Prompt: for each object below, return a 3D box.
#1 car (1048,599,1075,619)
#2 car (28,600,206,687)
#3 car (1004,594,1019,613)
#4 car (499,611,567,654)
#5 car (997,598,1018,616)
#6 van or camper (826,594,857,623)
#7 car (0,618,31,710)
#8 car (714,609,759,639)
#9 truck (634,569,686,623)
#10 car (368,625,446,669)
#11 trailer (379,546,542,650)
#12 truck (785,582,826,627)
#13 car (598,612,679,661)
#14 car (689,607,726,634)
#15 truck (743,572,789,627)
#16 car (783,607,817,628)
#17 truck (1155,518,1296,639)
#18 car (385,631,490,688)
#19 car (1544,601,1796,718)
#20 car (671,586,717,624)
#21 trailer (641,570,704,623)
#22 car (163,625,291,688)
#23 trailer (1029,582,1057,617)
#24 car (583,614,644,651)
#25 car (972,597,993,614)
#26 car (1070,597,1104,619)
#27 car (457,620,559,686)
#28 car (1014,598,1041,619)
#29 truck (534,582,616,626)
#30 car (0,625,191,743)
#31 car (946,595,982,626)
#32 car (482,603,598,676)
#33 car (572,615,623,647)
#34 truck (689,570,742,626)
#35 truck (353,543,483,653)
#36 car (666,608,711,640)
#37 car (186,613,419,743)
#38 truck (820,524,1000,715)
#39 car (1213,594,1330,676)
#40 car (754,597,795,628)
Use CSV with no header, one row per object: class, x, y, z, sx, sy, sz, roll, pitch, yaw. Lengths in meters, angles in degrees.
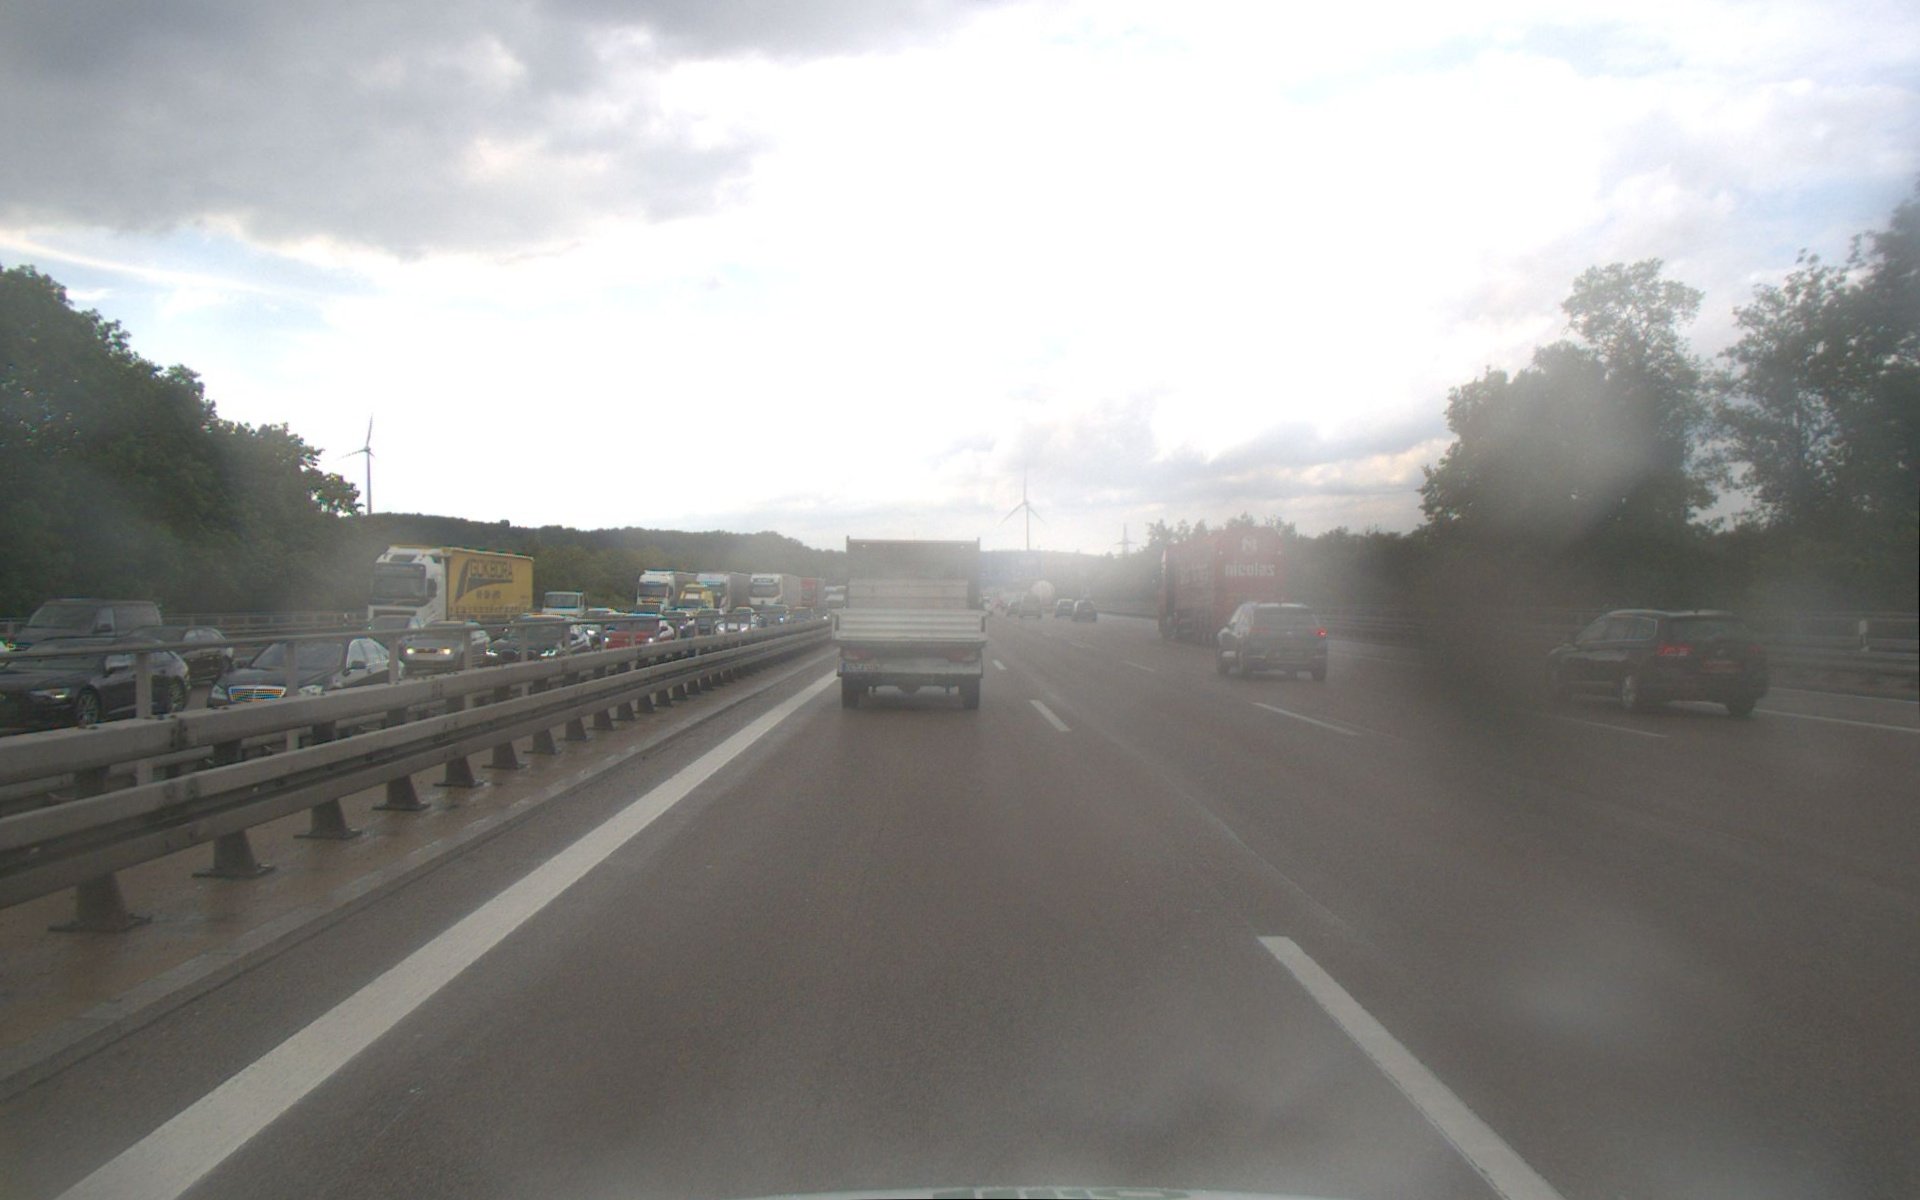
car,9.234,0.798,150.775,2.004,1.729,5.005,0,0,-2
car,-21.198,1.048,41.874,1.954,2.049,5.409,0,0,-3
car,6.913,0.410,222.137,2.003,2.541,4.001,0,0,1
car,-18.045,1.351,70.069,1.953,1.691,3.998,-1,0,-2
car,4.591,0.675,161.183,2.003,1.729,4.000,0,0,1
van or camper,-10.548,0.766,147.824,2.231,2.540,7.301,-1,0,0
car,-18.052,1.174,28.535,1.693,1.641,4.460,-1,0,-3
car,-10.994,1.175,81.505,1.726,1.407,4.818,-1,0,-2
truck,-23.248,-0.283,128.412,2.702,4.063,6.577,-1,0,1
car,-18.236,1.529,54.655,1.418,1.323,3.997,-1,0,-3
trailer,-22.597,-0.059,76.036,3.181,4.302,14.507,-1,0,0
truck,-15.041,0.474,162.152,2.923,4.221,12.521,-1,0,0
car,-10.539,1.173,54.535,1.954,1.489,4.839,-1,0,-3
car,-15.269,1.229,100.185,1.712,1.604,4.687,-1,0,-2
truck,-15.580,-0.025,133.058,2.822,4.253,7.556,-1,0,0
car,-11.421,1.226,118.327,1.973,1.411,5.458,-1,0,0
truck,9.852,-0.728,63.508,3.087,4.073,15.637,0,0,1
car,-14.831,1.665,47.217,1.780,1.450,4.474,-1,0,-3
car,10.401,0.806,24.618,1.778,1.570,4.356,0,0,-2
car,-18.607,0.348,116.038,2.112,2.548,6.771,-1,0,0
trailer,-23.175,-0.256,133.825,2.701,4.063,12.307,-1,0,1
car,-18.271,1.371,41.417,1.601,1.443,3.997,-1,0,-3
trailer,10.431,-0.007,208.699,3.264,4.249,11.840,1,0,1
car,-14.883,1.364,71.331,1.772,1.506,5.217,-1,0,-3
car,2.237,0.565,167.861,1.932,1.729,3.998,0,0,-2
car,9.800,0.586,128.096,2.062,1.634,5.063,0,0,-2
car,-12.716,1.449,46.763,1.819,1.738,3.999,-1,0,-1
car,5.834,0.733,143.778,2.055,1.729,3.998,0,0,-2
truck,-22.305,0.234,96.311,2.626,2.413,9.273,-1,0,0
car,-14.119,1.266,26.346,1.826,1.641,4.460,-1,0,-3
car,0.257,0.585,95.570,2.003,1.729,4.001,0,0,1
car,-10.536,0.948,41.842,1.830,1.699,5.171,-1,0,-3
car,-18.067,1.516,82.565,1.712,1.505,4.416,-1,0,-2
truck,-18.918,-0.116,128.502,2.844,4.220,7.102,-1,0,1
truck,-22.561,-0.061,69.246,3.181,4.324,6.881,-1,0,0
car,-13.864,1.204,84.788,1.712,1.604,4.416,-1,0,-2
car,-10.737,1.183,27.522,1.828,1.858,5.706,-1,0,-3
truck,-0.771,0.258,25.192,2.305,2.450,7.355,1,0,-2
car,6.428,0.701,34.504,1.755,1.590,3.721,1,0,0
car,-11.168,0.752,99.816,1.874,1.797,5.331,-1,0,0
